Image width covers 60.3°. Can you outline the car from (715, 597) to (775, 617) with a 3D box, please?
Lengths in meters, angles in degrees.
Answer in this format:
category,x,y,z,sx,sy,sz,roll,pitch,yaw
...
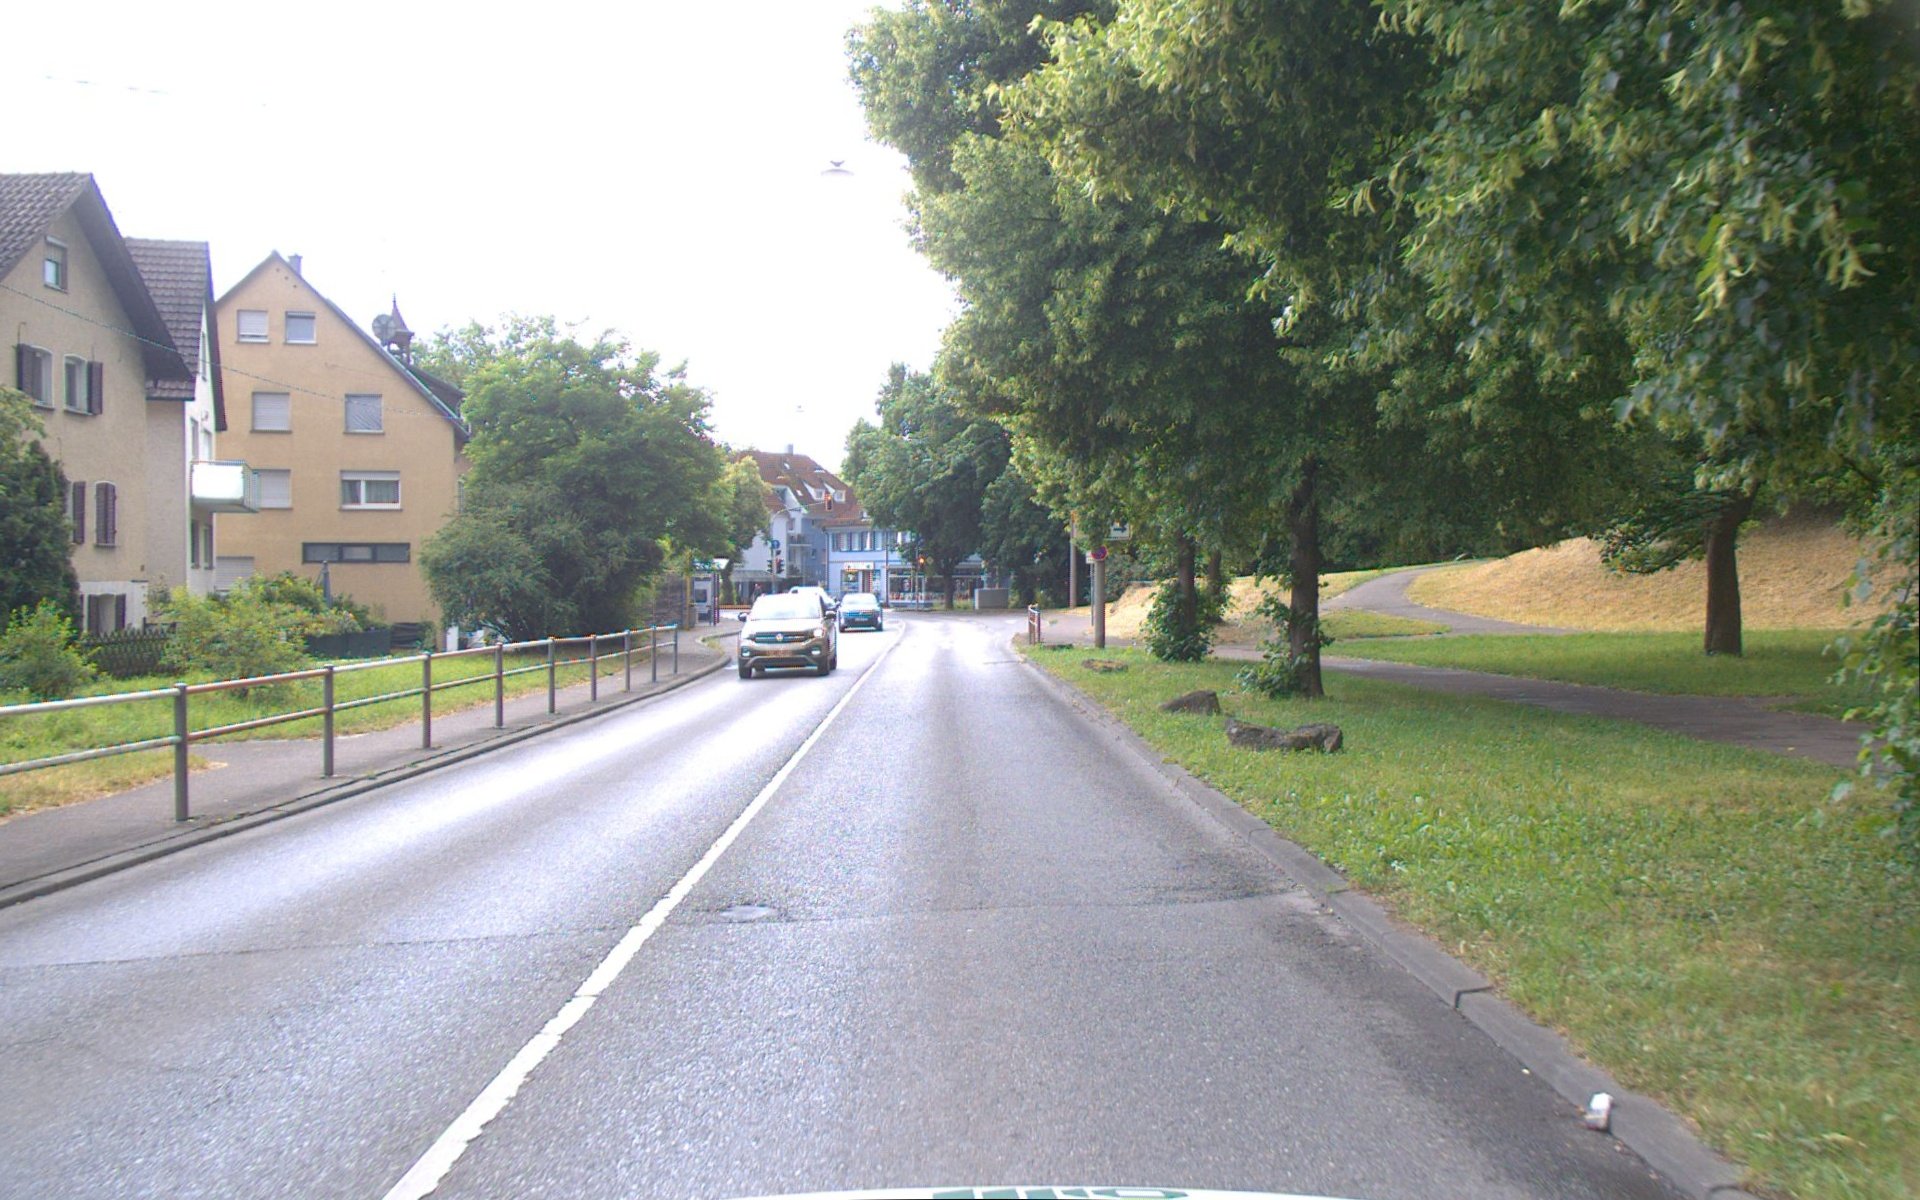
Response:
category,x,y,z,sx,sy,sz,roll,pitch,yaw
car,-17.863,0.557,137.436,4.480,1.544,2.002,-2,0,14

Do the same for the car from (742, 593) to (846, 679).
category,x,y,z,sx,sy,sz,roll,pitch,yaw
car,-3.222,0.656,32.717,1.670,1.538,3.999,-2,0,-1

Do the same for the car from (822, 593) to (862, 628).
category,x,y,z,sx,sy,sz,roll,pitch,yaw
car,-6.184,0.532,87.051,1.896,1.754,4.690,-1,0,-2

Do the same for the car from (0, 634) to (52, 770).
category,x,y,z,sx,sy,sz,roll,pitch,yaw
car,-13.354,1.352,20.362,1.880,1.724,4.002,-2,0,4

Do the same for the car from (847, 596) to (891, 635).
category,x,y,z,sx,sy,sz,roll,pitch,yaw
car,-3.693,0.611,67.476,1.682,1.494,4.097,-1,1,-2
